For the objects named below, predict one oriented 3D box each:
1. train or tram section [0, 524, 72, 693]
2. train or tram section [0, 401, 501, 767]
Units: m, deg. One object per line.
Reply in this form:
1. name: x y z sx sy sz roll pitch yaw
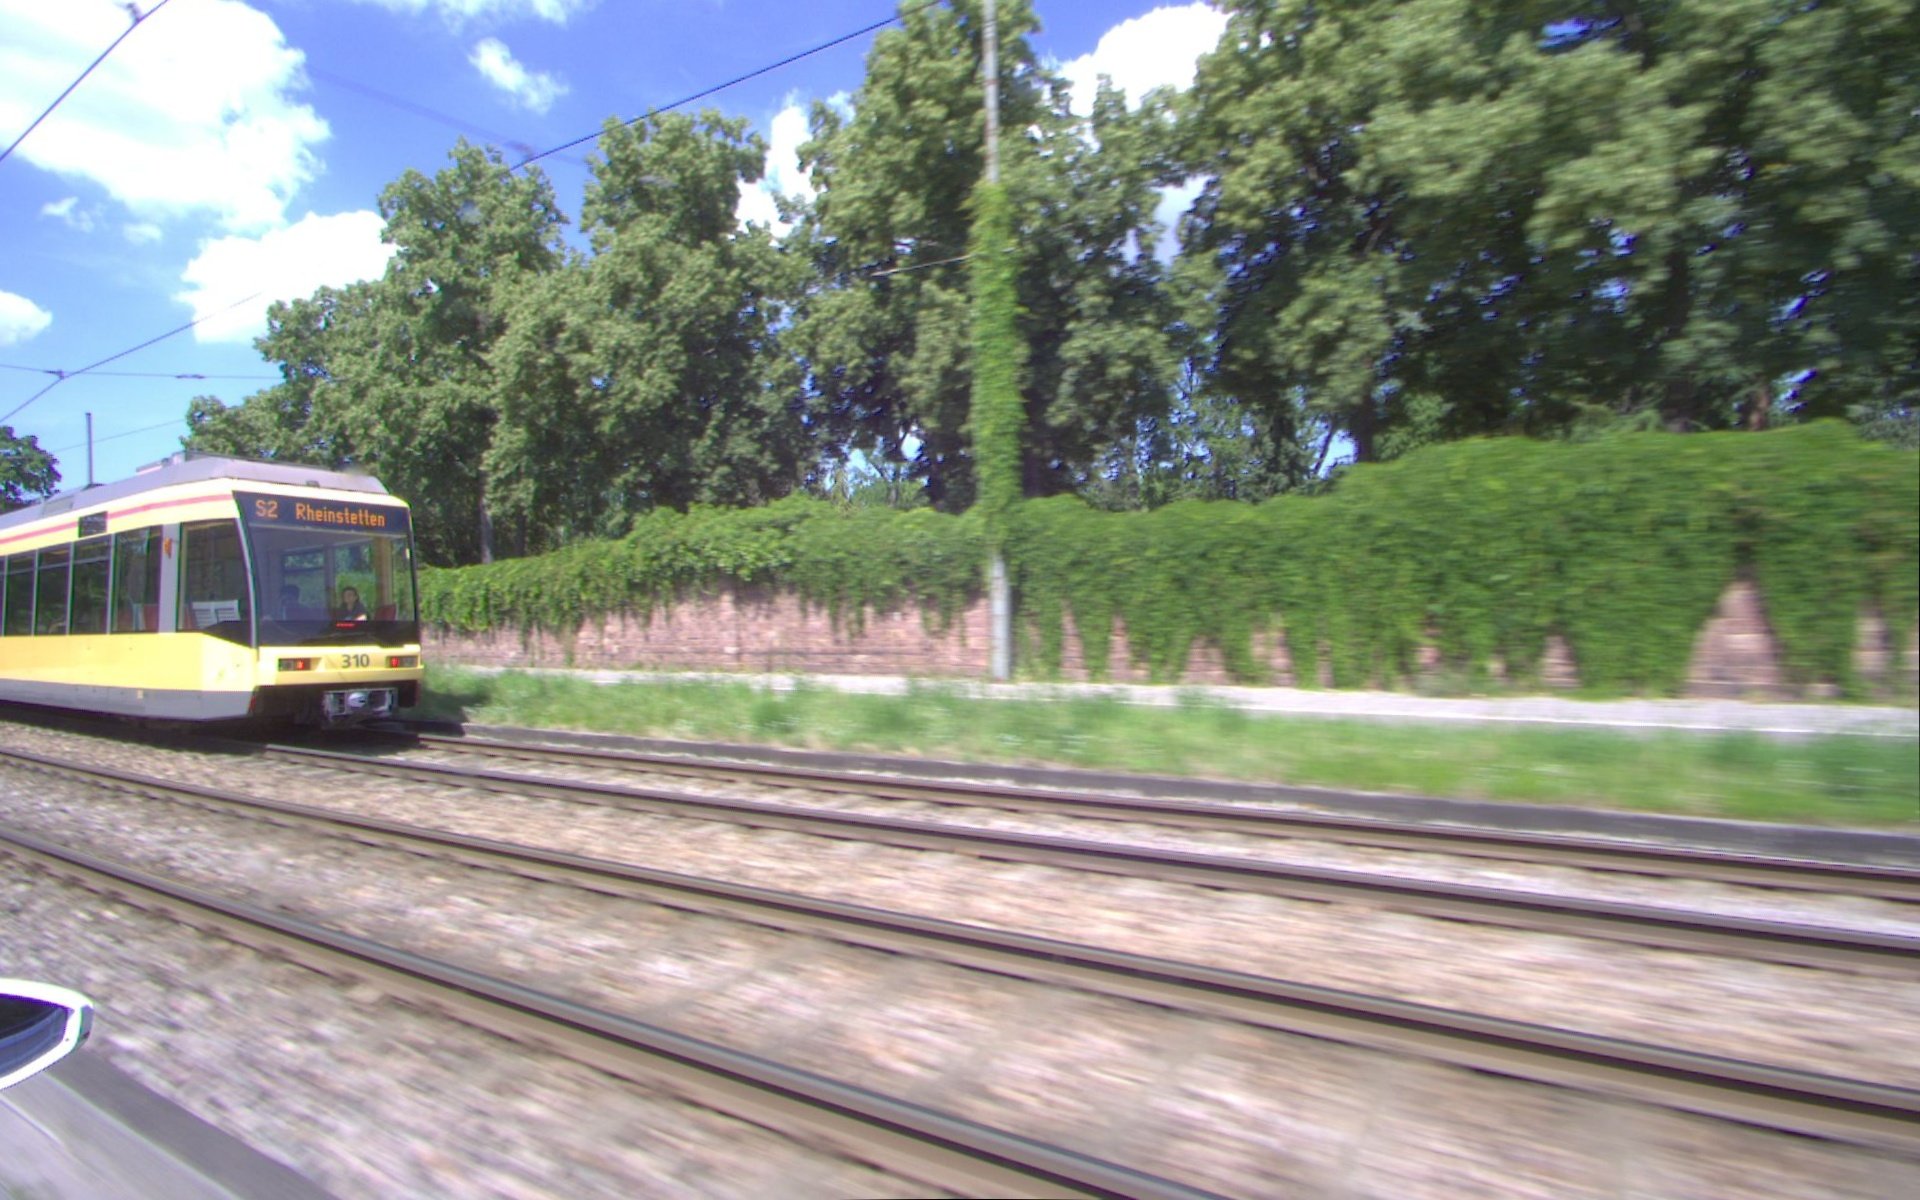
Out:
1. train or tram section: -29.302 0.369 27.998 20.026 3.739 2.933 -1 -1 37
2. train or tram section: -14.017 0.025 16.704 18.144 3.739 2.935 -1 -1 35
